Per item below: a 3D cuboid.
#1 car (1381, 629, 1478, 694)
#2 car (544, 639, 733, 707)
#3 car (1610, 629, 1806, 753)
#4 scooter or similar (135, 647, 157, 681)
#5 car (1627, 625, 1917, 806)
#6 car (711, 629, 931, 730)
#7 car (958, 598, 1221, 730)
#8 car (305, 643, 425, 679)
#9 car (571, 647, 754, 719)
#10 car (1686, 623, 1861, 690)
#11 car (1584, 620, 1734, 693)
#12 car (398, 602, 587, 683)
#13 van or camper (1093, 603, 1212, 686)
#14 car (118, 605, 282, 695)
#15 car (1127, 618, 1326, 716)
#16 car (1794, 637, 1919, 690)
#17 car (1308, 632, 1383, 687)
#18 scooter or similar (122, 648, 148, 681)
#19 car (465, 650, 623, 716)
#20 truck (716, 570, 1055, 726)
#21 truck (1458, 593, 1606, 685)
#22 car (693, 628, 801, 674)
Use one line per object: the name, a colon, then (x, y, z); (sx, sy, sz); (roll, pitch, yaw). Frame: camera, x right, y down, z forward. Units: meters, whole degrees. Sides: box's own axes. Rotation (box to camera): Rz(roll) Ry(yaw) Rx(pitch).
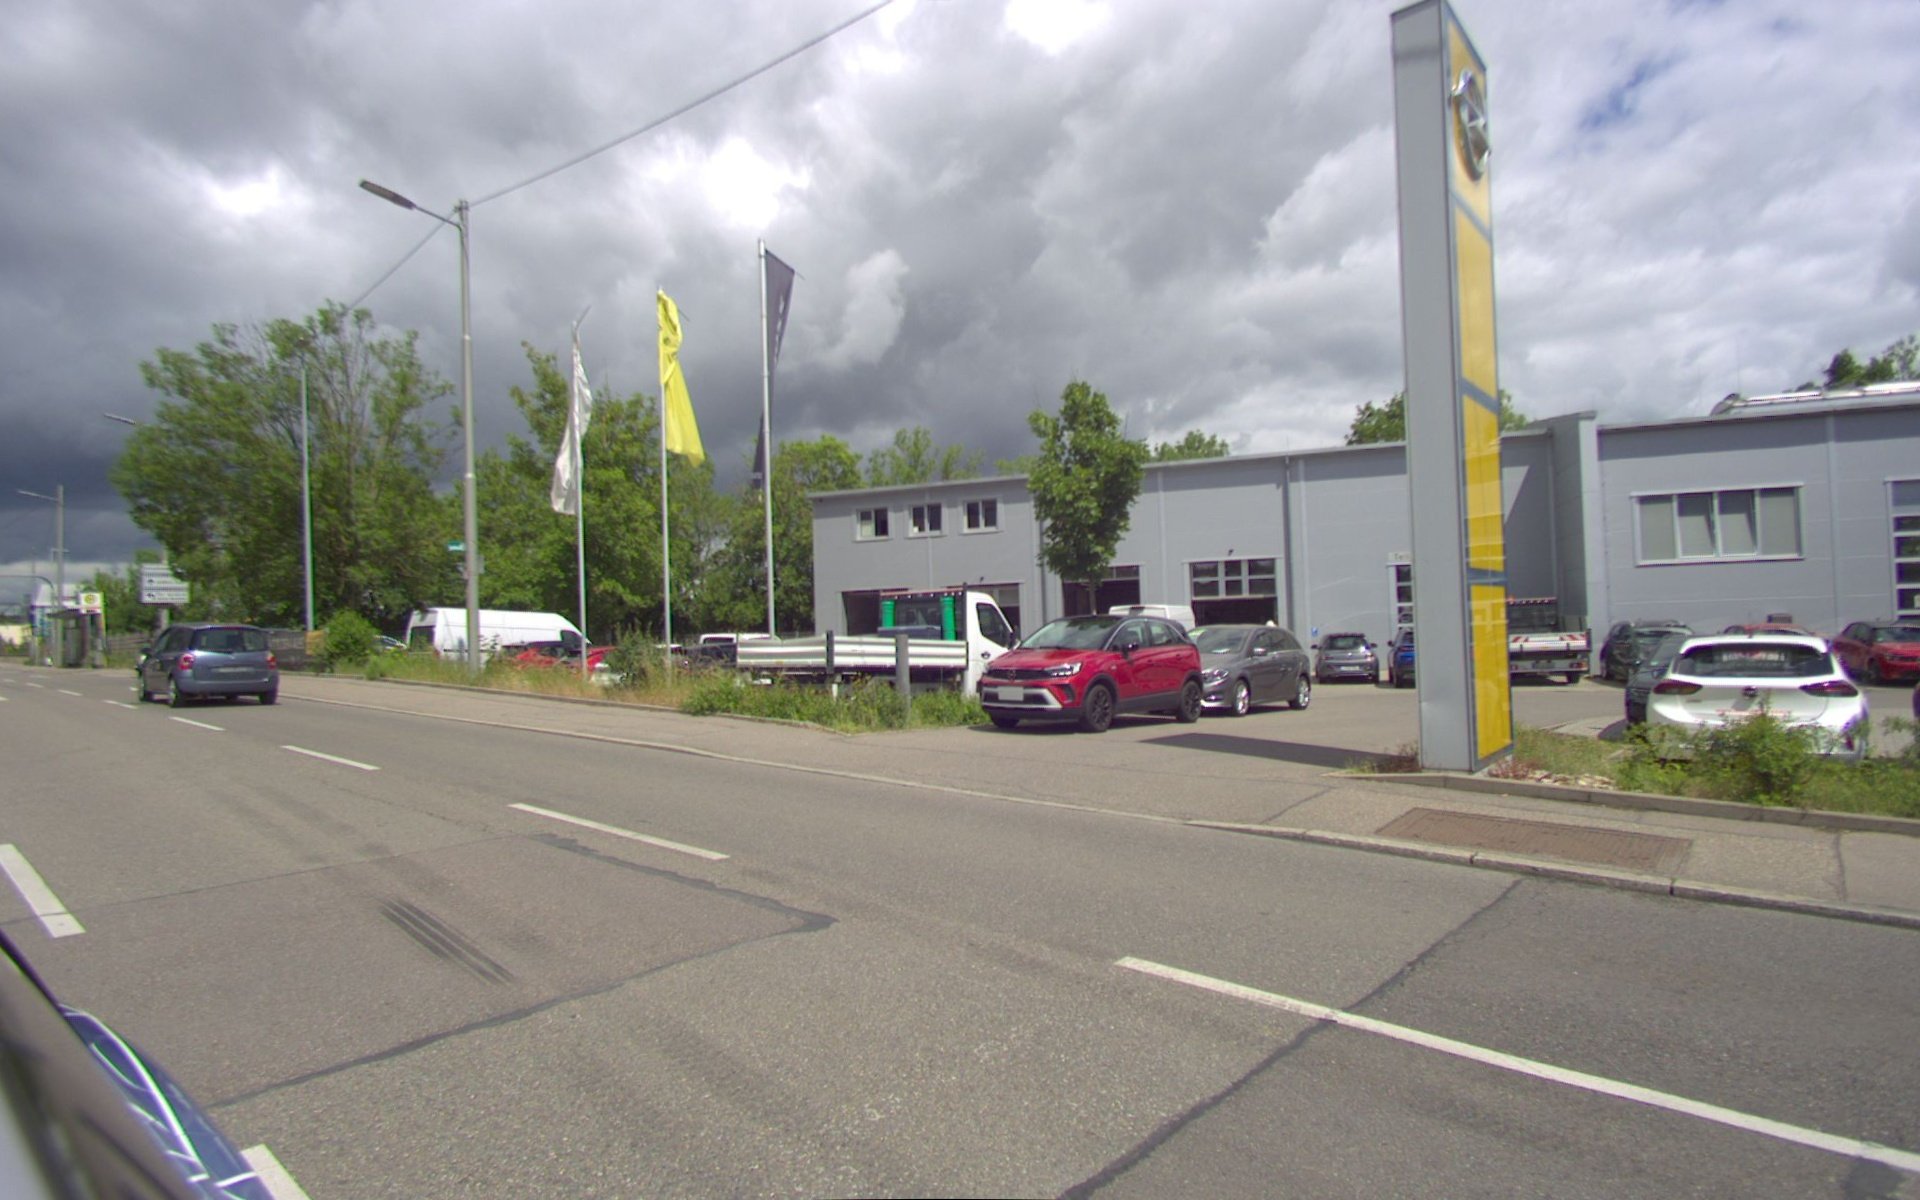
car: (12.649, 1.600, 27.512); (1.913, 1.508, 4.215); (-1, -1, 19)
car: (-7.812, 1.711, 24.803); (3.986, 1.397, 1.930); (0, -1, -45)
car: (10.832, 1.168, 14.538); (1.927, 1.420, 4.184); (-1, -1, 41)
scooter or similar: (-31.248, 2.445, 38.835); (0.528, 1.275, 1.473); (-2, -1, -43)
car: (8.429, 1.011, 10.557); (1.999, 1.420, 3.946); (-1, -1, 40)
car: (-2.566, 1.408, 19.287); (1.928, 1.621, 3.844); (-1, -1, 41)
car: (1.942, 0.921, 14.348); (1.753, 1.601, 3.943); (-4, -6, 42)
car: (-26.081, 2.643, 44.440); (4.226, 1.391, 1.867); (1, -3, -44)
car: (-6.556, 1.780, 22.487); (3.505, 1.335, 1.712); (0, -1, -45)
car: (19.565, 1.309, 24.592); (1.913, 1.420, 4.216); (-1, -1, 18)
car: (17.334, 1.336, 25.349); (1.913, 1.594, 4.216); (-1, -1, 18)
car: (-12.643, 1.121, 27.523); (2.196, 2.029, 4.119); (-4, -3, 39)
van or camper: (6.287, 1.383, 32.326); (2.487, 2.373, 5.855); (-3, -2, 23)
car: (-15.092, 0.990, 20.033); (4.040, 1.608, 1.725); (-2, -4, 41)
car: (4.839, 1.195, 18.056); (1.825, 1.534, 4.036); (-4, -5, 41)
car: (21.746, 1.453, 23.823); (1.779, 1.031, 4.271); (-1, -1, 18)
car: (11.765, 1.762, 30.950); (1.914, 1.420, 4.212); (-3, -2, 21)
scooter or similar: (-32.414, 2.523, 39.776); (0.527, 1.272, 1.476); (-2, -1, -31)
car: (-10.531, 2.051, 25.723); (3.298, 1.420, 1.728); (0, -1, -45)
truck: (-1.008, 0.735, 17.133); (2.474, 2.164, 5.804); (-1, -2, 39)
truck: (15.787, 1.034, 28.365); (2.683, 2.246, 6.268); (0, -1, 21)
car: (-8.709, 2.059, 41.096); (4.917, 1.742, 1.816); (-3, -3, 44)
